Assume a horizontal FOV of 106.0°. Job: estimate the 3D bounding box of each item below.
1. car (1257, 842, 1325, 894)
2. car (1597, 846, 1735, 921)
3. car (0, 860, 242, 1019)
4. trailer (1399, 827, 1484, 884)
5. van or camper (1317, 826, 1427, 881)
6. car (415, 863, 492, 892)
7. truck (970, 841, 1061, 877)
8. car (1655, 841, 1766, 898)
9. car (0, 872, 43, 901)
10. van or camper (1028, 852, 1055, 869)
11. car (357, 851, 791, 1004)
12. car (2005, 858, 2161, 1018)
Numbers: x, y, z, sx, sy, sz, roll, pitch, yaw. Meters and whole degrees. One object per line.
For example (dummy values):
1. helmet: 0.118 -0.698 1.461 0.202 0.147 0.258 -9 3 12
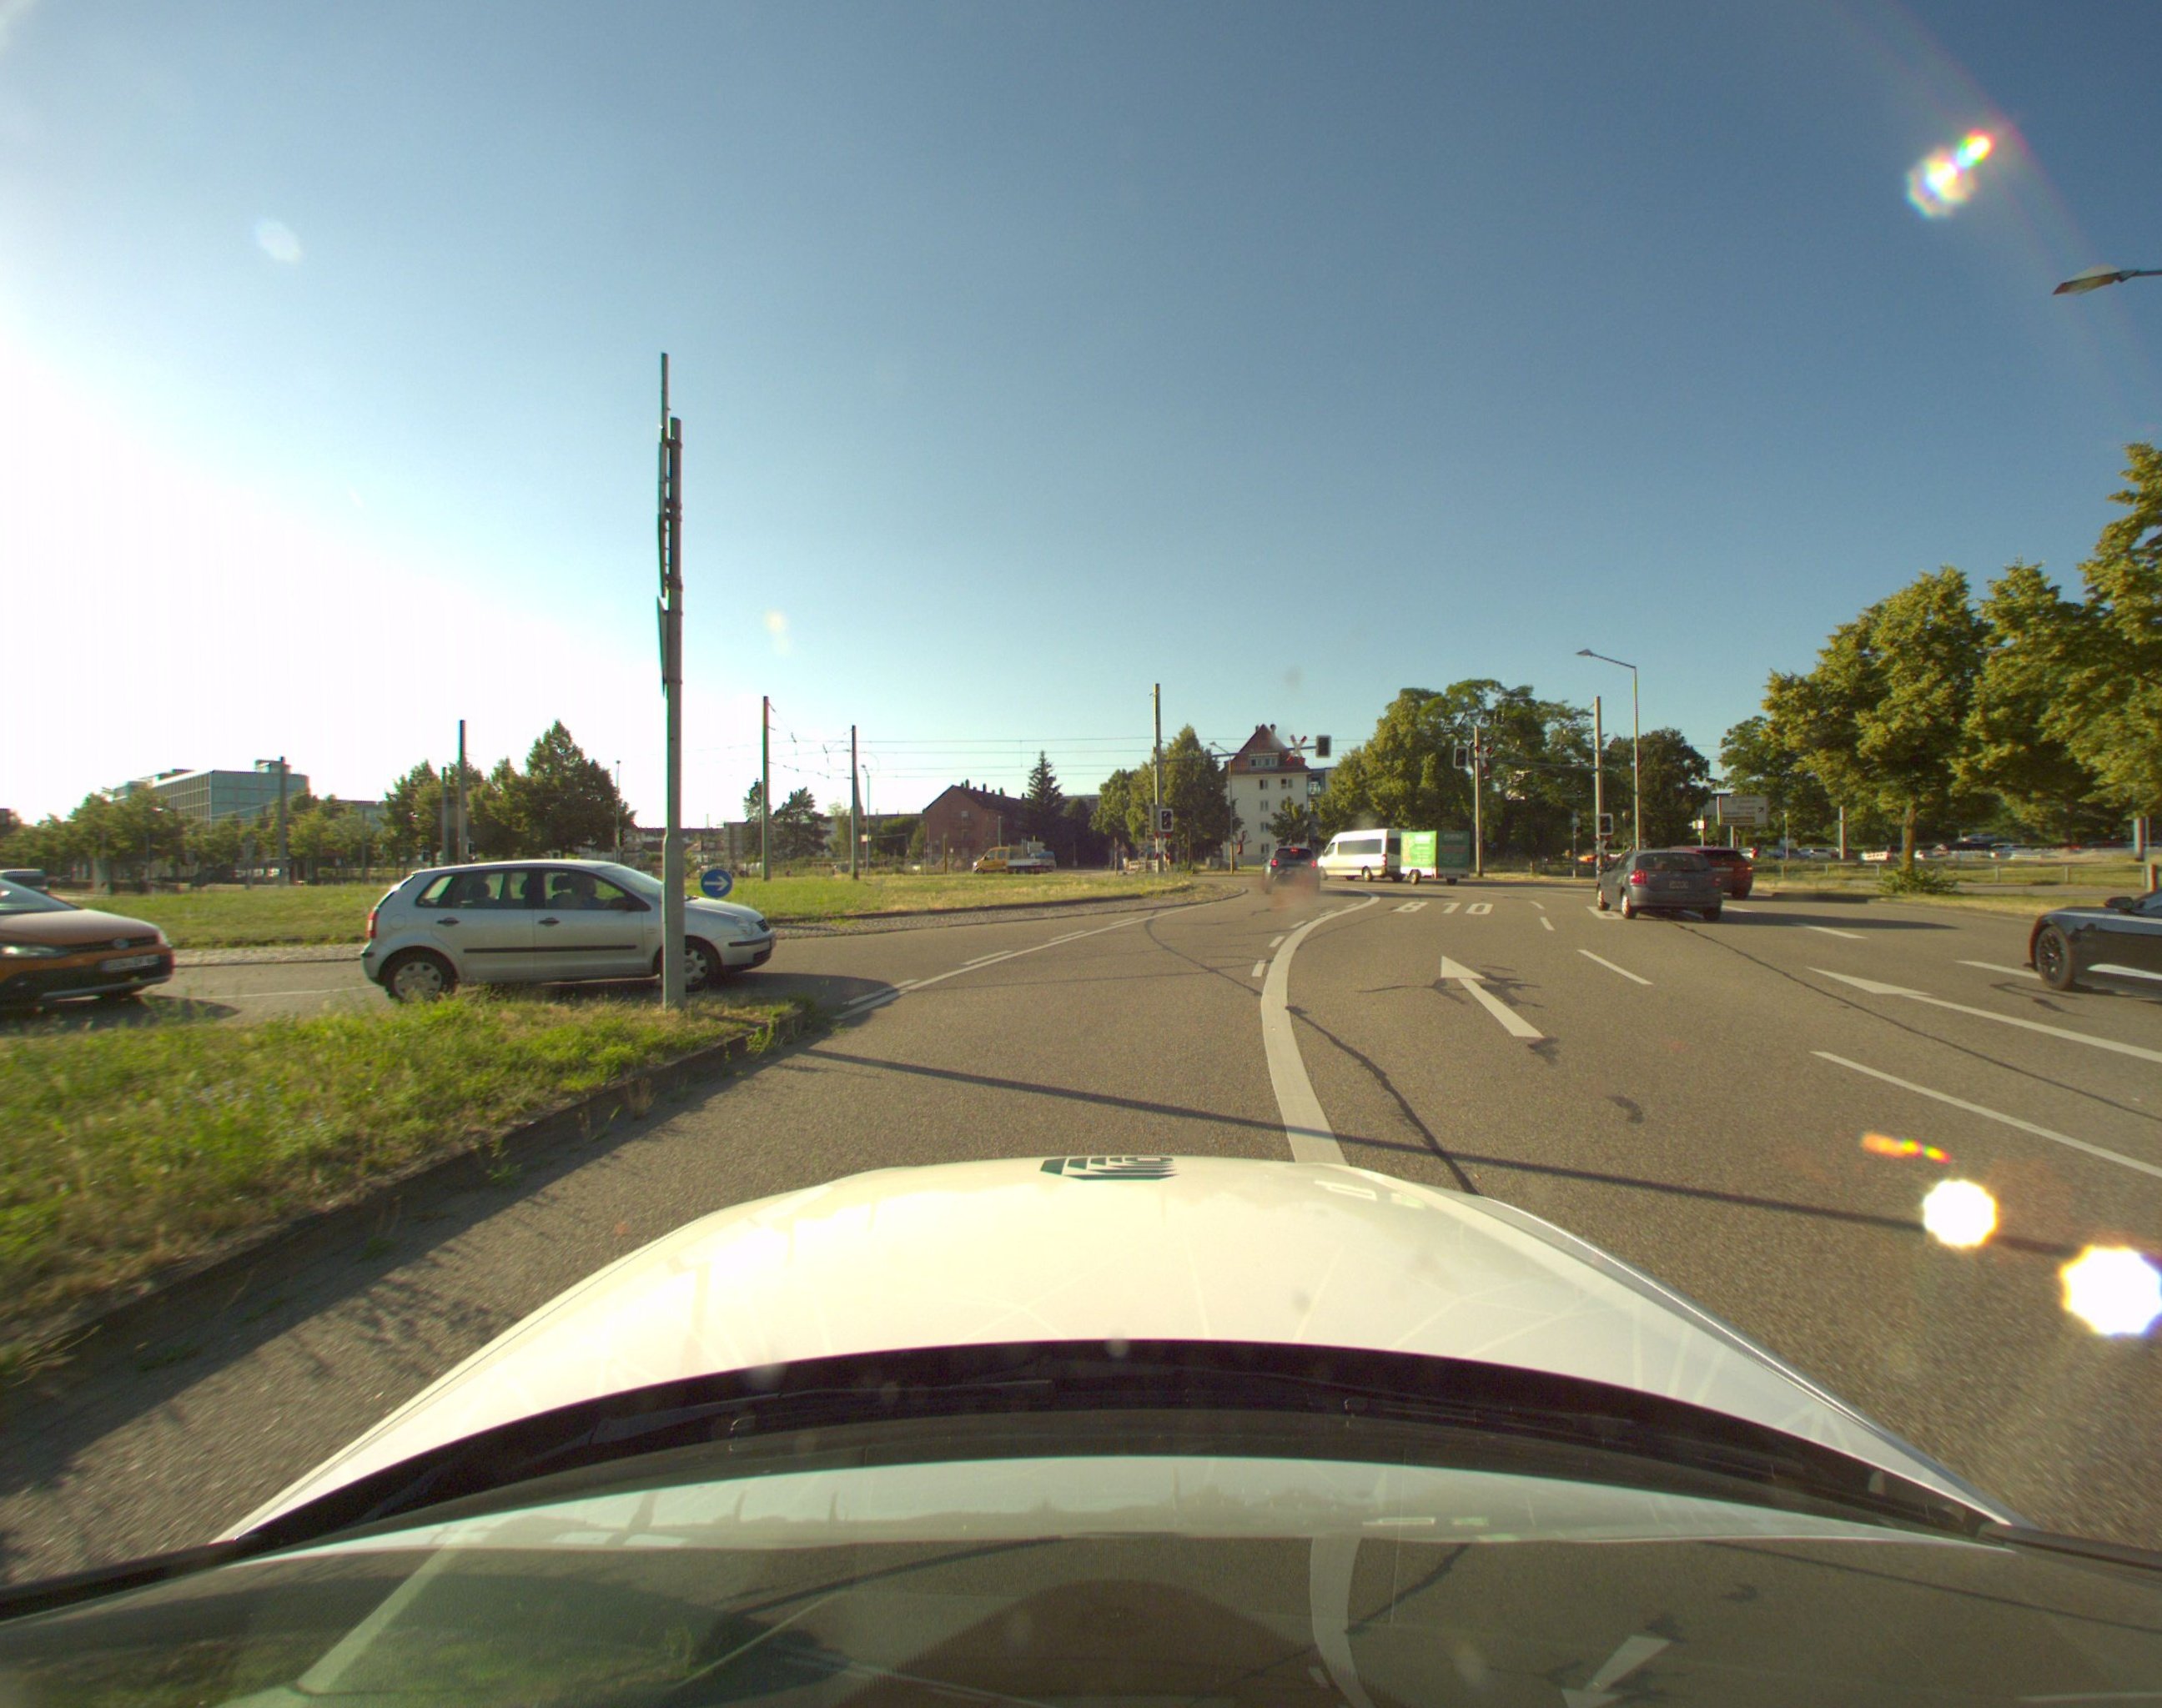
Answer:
1. car: 7.250 0.460 28.424 1.894 1.660 4.010 -1 -1 9
2. car: 12.780 0.578 18.037 1.731 1.473 3.841 -1 0 24
3. car: -11.720 0.829 8.303 4.119 1.444 1.906 -1 0 -5
4. trailer: 16.139 0.087 36.680 2.087 2.400 3.494 1 -1 -6
5. van or camper: 14.976 0.018 42.514 2.287 2.629 6.554 0 0 -13
6. car: -45.451 1.678 59.094 1.978 2.013 4.017 -1 0 16
7. truck: -4.872 0.391 60.172 6.174 2.558 2.604 -1 0 25
8. car: 19.423 0.452 25.318 1.732 1.621 3.840 -1 0 22
9. car: -78.043 2.373 59.635 3.949 2.014 2.013 -1 0 31
10. van or camper: -4.968 0.841 104.212 2.077 2.154 4.442 -1 0 16
11. car: -5.414 0.719 9.264 3.751 1.434 1.828 -1 0 -13
12. car: 10.423 0.759 6.972 1.837 1.338 4.654 0 1 28
